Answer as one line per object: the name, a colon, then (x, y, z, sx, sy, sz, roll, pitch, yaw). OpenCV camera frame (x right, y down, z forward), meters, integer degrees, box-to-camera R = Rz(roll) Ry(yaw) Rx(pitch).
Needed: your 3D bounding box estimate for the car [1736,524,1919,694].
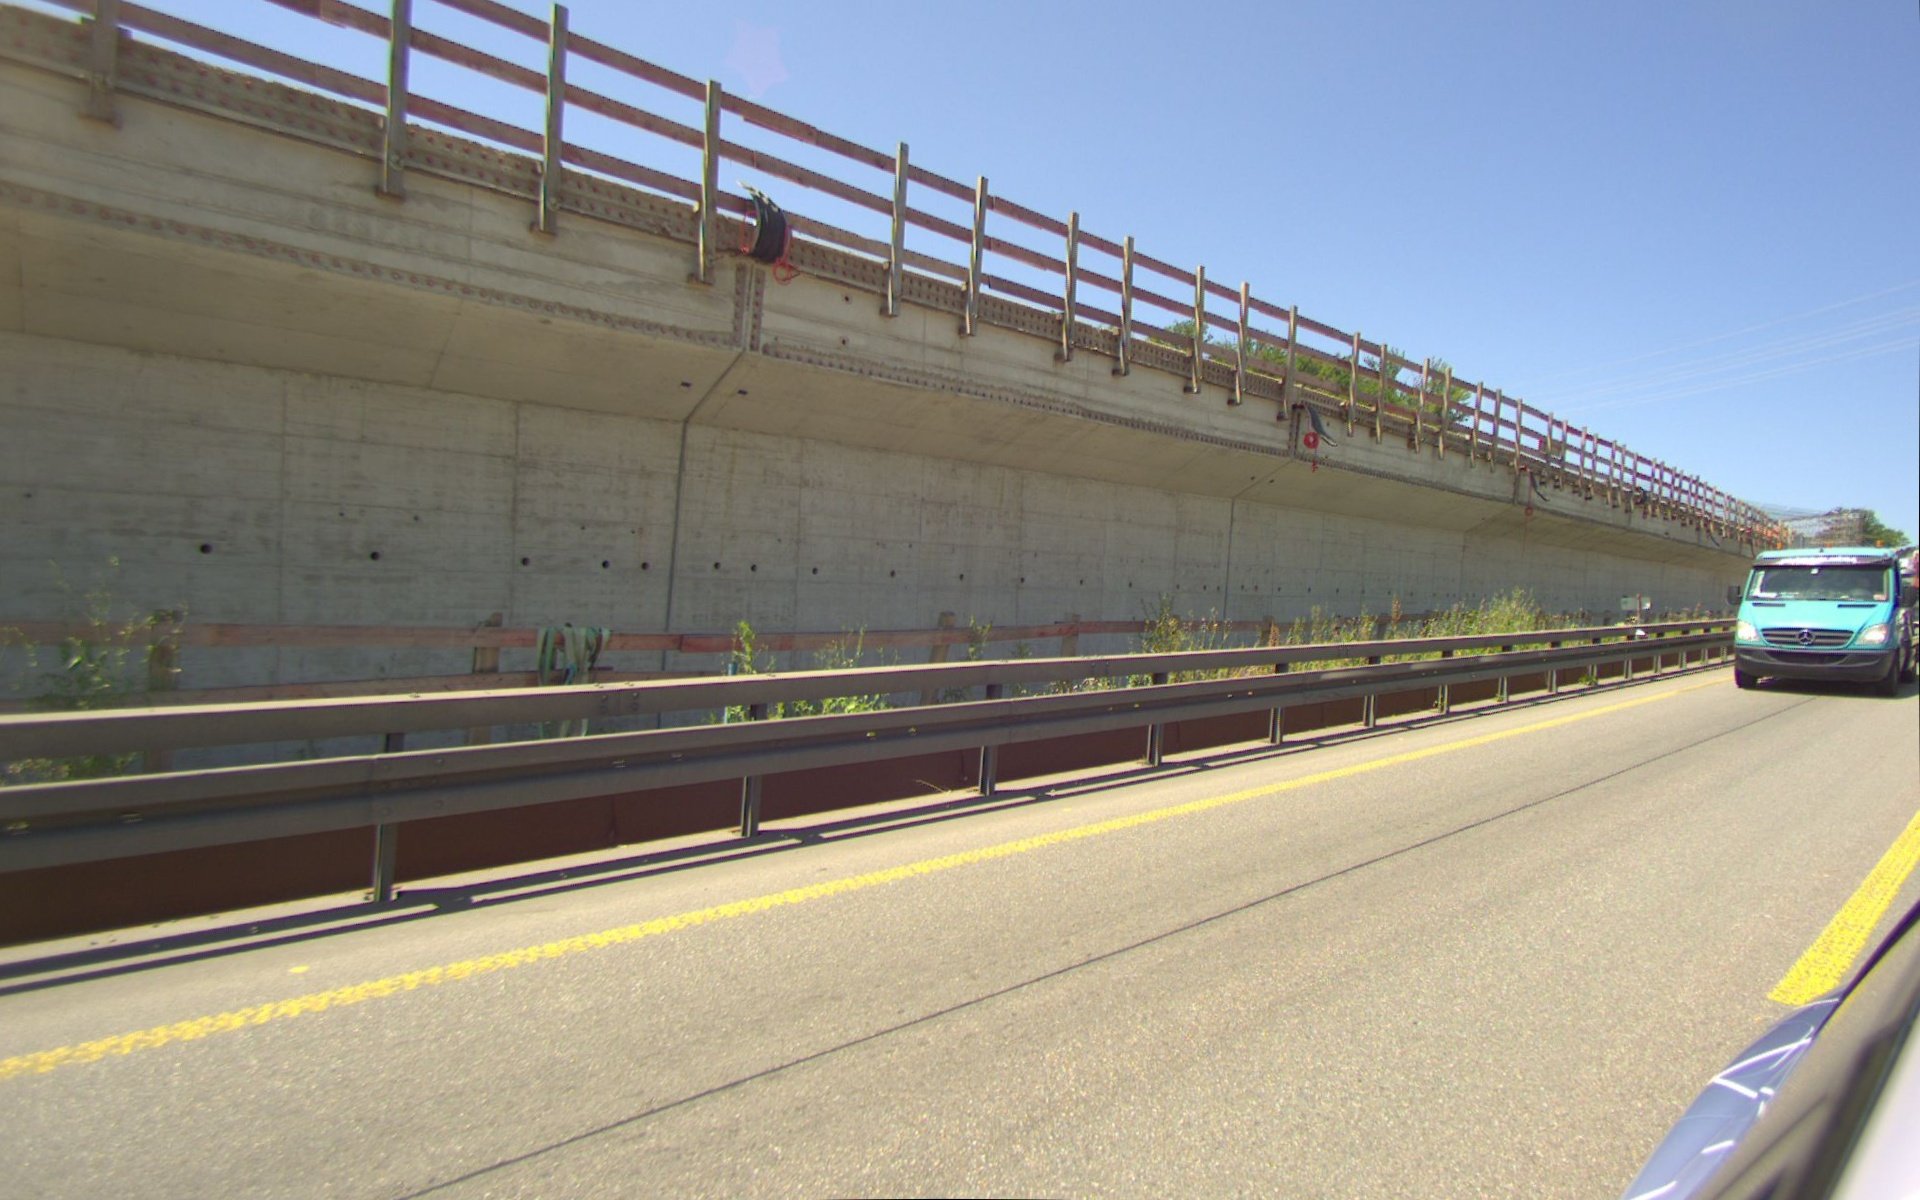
car: (15.460, 0.111, 17.442, 7.084, 2.411, 1.967, 0, 0, -41)

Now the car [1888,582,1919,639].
car: (29.520, 0.284, 30.537, 3.931, 1.681, 1.857, -1, 0, -42)
